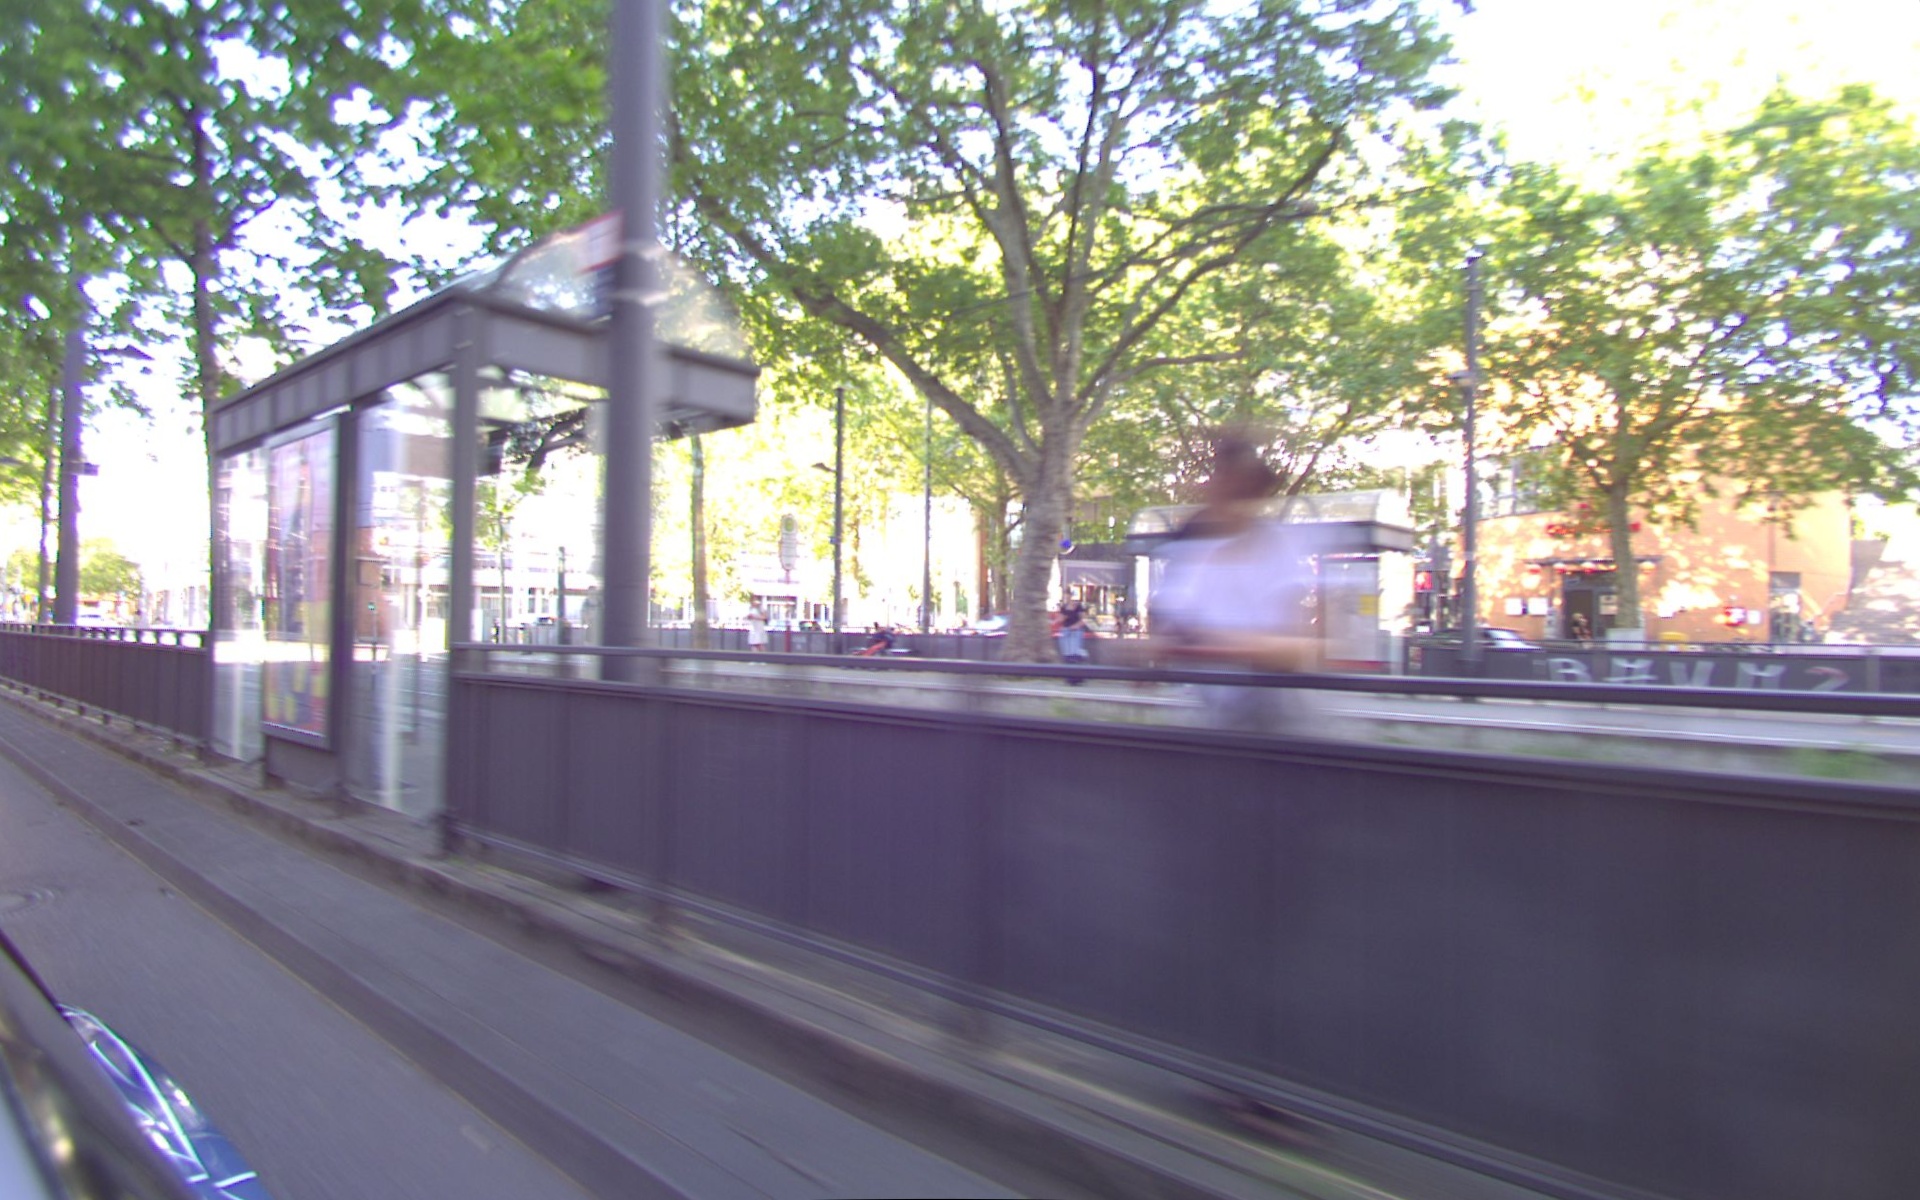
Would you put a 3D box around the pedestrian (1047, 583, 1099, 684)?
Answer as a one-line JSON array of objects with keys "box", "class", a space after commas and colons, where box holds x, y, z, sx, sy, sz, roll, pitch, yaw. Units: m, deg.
[{"box": [1.904, 0.552, 17.040, 0.666, 1.654, 0.662, 0, -1, 29], "class": "pedestrian"}]

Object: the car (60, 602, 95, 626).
[{"box": [-67.543, 1.059, 77.438, 1.969, 1.796, 4.006, -1, 0, -41], "class": "car"}]

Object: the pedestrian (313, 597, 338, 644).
[{"box": [-23.507, 0.763, 37.476, 0.501, 1.698, 0.640, -1, -2, 38], "class": "pedestrian"}]

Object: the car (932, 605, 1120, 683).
[{"box": [1.475, 0.981, 23.453, 3.999, 1.652, 1.972, -1, -3, 42], "class": "car"}]

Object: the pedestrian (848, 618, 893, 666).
[{"box": [-1.991, 0.925, 22.418, 0.713, 1.048, 0.699, 1, -2, -42], "class": "pedestrian"}]

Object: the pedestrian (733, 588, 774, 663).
[{"box": [-4.921, 0.594, 24.117, 0.635, 1.753, 0.690, -1, -2, 32], "class": "pedestrian"}]

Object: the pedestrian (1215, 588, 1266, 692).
[{"box": [4.158, 0.580, 14.979, 0.605, 1.497, 0.566, -1, -2, 29], "class": "pedestrian"}]

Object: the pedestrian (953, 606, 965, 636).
[{"box": [-0.045, 1.192, 58.030, 0.616, 1.696, 0.530, 0, -1, -5], "class": "pedestrian"}]

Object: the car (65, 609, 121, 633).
[{"box": [-56.713, 1.393, 66.253, 1.878, 1.494, 4.300, 1, -1, -28], "class": "car"}]

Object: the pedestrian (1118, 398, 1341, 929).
[{"box": [1.064, 0.225, 3.986, 0.638, 1.853, 0.640, -1, -2, 40], "class": "pedestrian"}]

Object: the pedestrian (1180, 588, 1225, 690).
[{"box": [3.697, 0.582, 15.416, 0.549, 1.509, 0.549, -1, -2, 29], "class": "pedestrian"}]

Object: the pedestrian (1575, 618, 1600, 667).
[{"box": [20.944, 1.425, 33.801, 0.571, 1.616, 0.580, 1, -2, -44], "class": "pedestrian"}]

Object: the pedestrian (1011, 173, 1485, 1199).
[{"box": [0.586, 0.217, 1.988, 0.644, 1.703, 0.733, -1, 0, 39], "class": "pedestrian"}]

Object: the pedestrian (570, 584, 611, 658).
[{"box": [-8.951, 0.504, 24.550, 0.674, 1.767, 0.649, -1, -2, 32], "class": "pedestrian"}]

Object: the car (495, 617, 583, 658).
[{"box": [-16.153, 1.407, 38.781, 3.340, 1.466, 1.847, -1, -1, 41], "class": "car"}]

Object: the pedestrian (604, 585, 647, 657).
[{"box": [-8.094, 0.507, 24.481, 0.697, 1.709, 0.678, -1, -2, 32], "class": "pedestrian"}]
